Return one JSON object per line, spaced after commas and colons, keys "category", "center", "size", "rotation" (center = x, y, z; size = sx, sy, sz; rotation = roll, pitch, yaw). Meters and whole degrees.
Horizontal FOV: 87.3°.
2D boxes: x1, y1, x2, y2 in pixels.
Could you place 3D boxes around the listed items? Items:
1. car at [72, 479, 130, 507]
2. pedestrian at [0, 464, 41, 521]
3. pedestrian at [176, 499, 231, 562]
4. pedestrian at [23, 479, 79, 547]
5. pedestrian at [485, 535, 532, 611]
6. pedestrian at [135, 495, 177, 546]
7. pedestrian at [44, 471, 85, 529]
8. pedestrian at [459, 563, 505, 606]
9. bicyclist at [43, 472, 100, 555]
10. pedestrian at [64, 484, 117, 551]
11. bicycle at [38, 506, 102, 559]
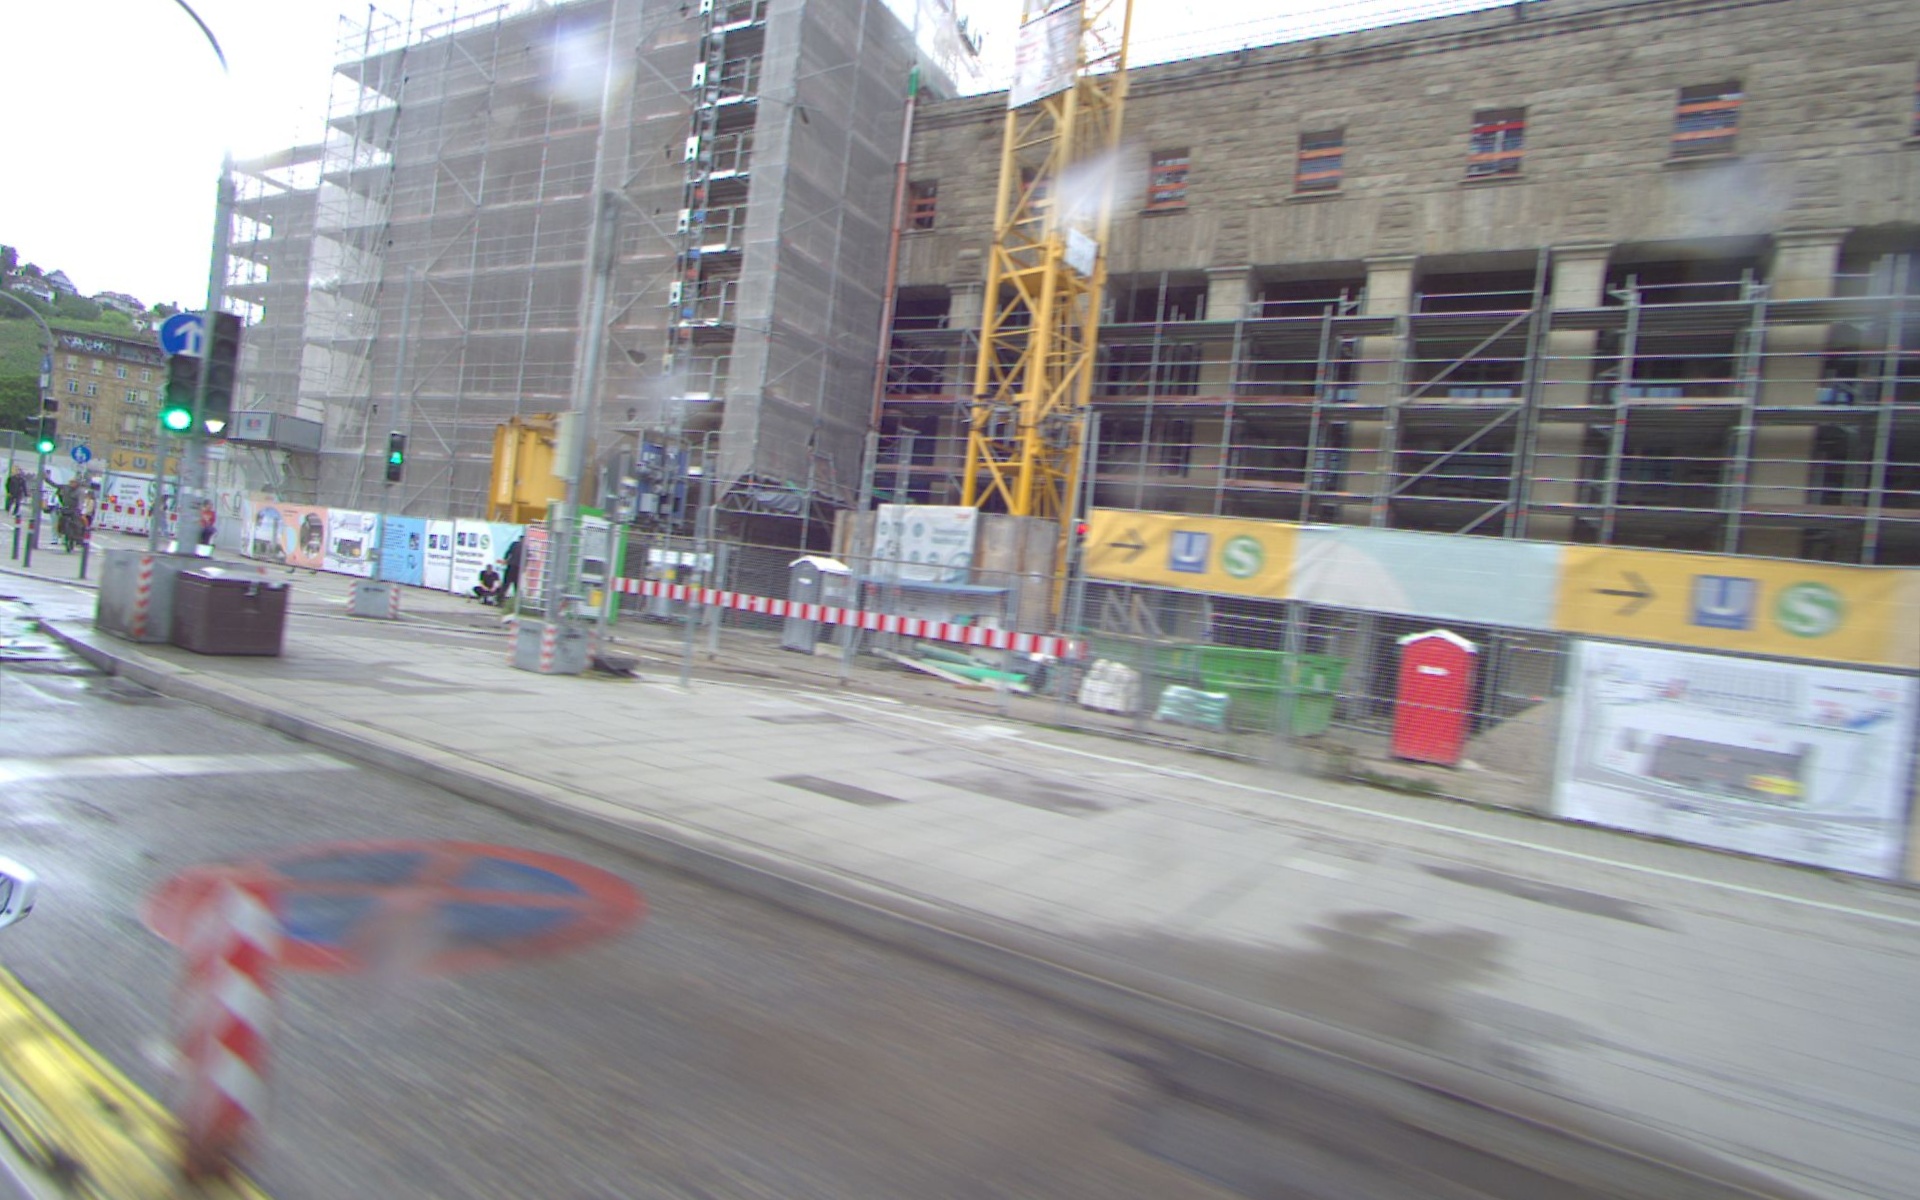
{"category": "car", "center": [-84.032, -10.476, 98.413], "size": [1.972, 2.038, 3.982], "rotation": [7, 0, 41]}
{"category": "pedestrian", "center": [-33.494, -3.816, 35.699], "size": [0.854, 1.864, 0.946], "rotation": [6, 1, -16]}
{"category": "pedestrian", "center": [-21.164, -1.938, 28.152], "size": [0.847, 1.628, 0.770], "rotation": [7, 1, 17]}
{"category": "pedestrian", "center": [-23.553, -2.243, 26.089], "size": [0.788, 1.628, 0.829], "rotation": [6, 1, -30]}
{"category": "pedestrian", "center": [-10.630, -0.644, 23.687], "size": [0.701, 1.693, 0.789], "rotation": [6, 1, -38]}
{"category": "pedestrian", "center": [-28.721, -2.828, 35.947], "size": [0.784, 1.682, 0.865], "rotation": [7, 1, 34]}
{"category": "pedestrian", "center": [-30.820, -3.448, 34.627], "size": [0.786, 1.864, 0.863], "rotation": [7, 1, 41]}
{"category": "pedestrian", "center": [-11.713, -0.378, 24.646], "size": [0.791, 0.952, 0.709], "rotation": [6, 1, -40]}
{"category": "bicyclist", "center": [-21.566, -2.095, 24.418], "size": [0.953, 1.867, 0.703], "rotation": [7, 0, 36]}
{"category": "pedestrian", "center": [-22.810, -2.159, 26.405], "size": [0.788, 1.628, 0.829], "rotation": [6, 1, -30]}
{"category": "bicycle", "center": [-21.596, -1.648, 24.409], "size": [1.778, 1.062, 0.707], "rotation": [8, 0, 36]}
